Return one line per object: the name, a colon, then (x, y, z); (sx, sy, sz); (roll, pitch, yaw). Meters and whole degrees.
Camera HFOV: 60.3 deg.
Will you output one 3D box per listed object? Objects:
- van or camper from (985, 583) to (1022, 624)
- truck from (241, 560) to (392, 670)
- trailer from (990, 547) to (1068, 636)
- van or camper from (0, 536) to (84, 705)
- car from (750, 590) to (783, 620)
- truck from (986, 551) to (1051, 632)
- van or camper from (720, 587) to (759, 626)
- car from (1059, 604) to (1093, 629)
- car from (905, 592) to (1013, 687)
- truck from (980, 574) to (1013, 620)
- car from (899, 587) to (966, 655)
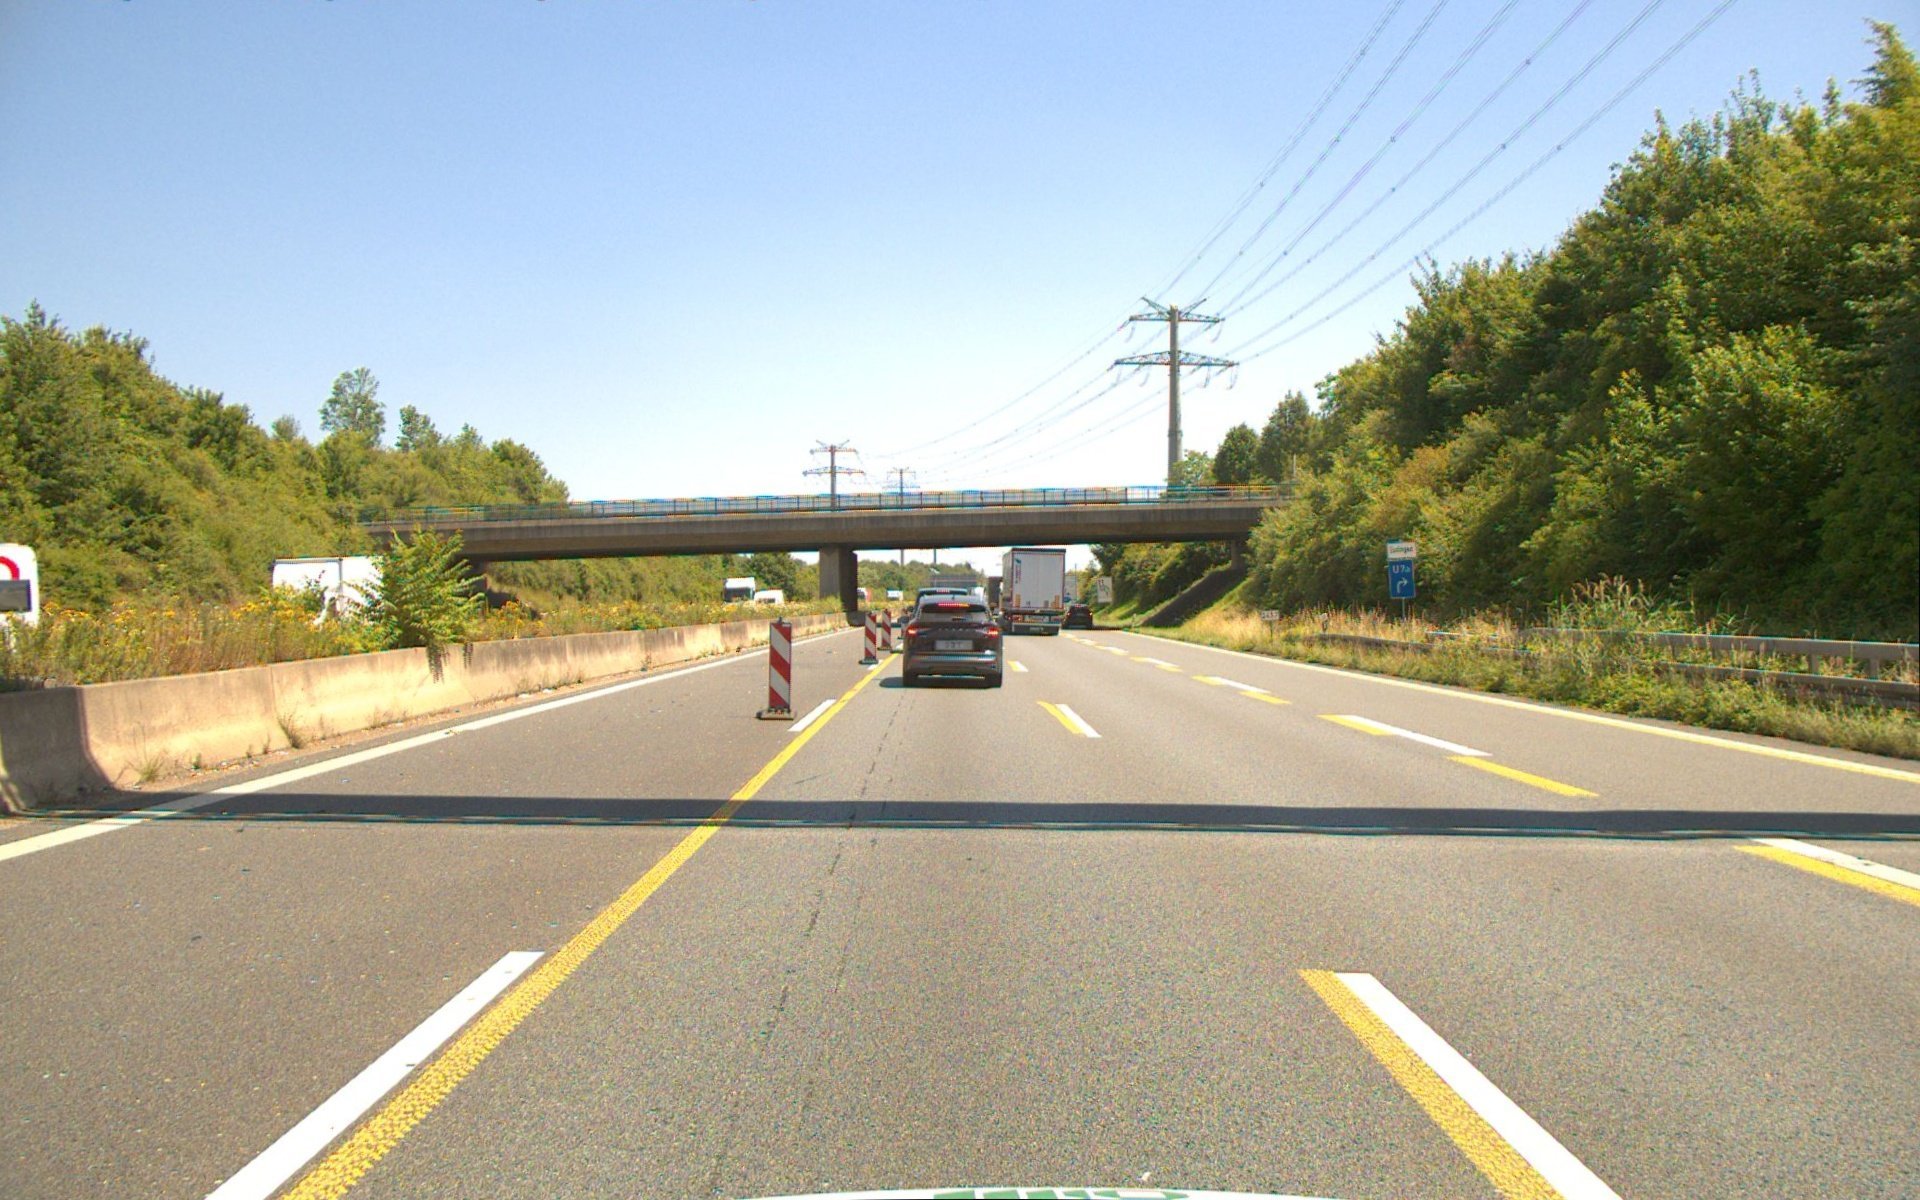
van or camper: (3.241, 0.246, 125.467); (2.534, 3.020, 6.083); (1, 0, -1)
truck: (-20.722, 0.470, 53.667); (2.444, 3.316, 6.363); (-1, 0, -1)
trailer: (3.328, -0.384, 82.519); (3.003, 4.113, 11.483); (0, 0, -2)
van or camper: (-19.323, 0.399, 30.461); (2.386, 3.202, 7.625); (-1, 0, -1)
car: (-15.212, 0.396, 130.047); (2.070, 2.236, 5.310); (2, 0, -2)
truck: (3.098, -0.422, 89.303); (2.964, 4.159, 7.792); (0, 0, -2)
van or camper: (-18.784, 0.573, 141.302); (2.517, 3.243, 6.231); (1, 0, -1)
car: (7.303, 1.022, 104.398); (1.743, 1.515, 4.463); (1, 0, -1)
car: (-0.081, 0.675, 30.748); (1.857, 1.620, 4.441); (0, 0, -2)
truck: (3.489, -0.243, 161.034); (3.014, 4.219, 13.054); (1, 0, 0)
car: (-0.830, 0.595, 49.674); (1.857, 1.873, 4.441); (2, 0, -2)
